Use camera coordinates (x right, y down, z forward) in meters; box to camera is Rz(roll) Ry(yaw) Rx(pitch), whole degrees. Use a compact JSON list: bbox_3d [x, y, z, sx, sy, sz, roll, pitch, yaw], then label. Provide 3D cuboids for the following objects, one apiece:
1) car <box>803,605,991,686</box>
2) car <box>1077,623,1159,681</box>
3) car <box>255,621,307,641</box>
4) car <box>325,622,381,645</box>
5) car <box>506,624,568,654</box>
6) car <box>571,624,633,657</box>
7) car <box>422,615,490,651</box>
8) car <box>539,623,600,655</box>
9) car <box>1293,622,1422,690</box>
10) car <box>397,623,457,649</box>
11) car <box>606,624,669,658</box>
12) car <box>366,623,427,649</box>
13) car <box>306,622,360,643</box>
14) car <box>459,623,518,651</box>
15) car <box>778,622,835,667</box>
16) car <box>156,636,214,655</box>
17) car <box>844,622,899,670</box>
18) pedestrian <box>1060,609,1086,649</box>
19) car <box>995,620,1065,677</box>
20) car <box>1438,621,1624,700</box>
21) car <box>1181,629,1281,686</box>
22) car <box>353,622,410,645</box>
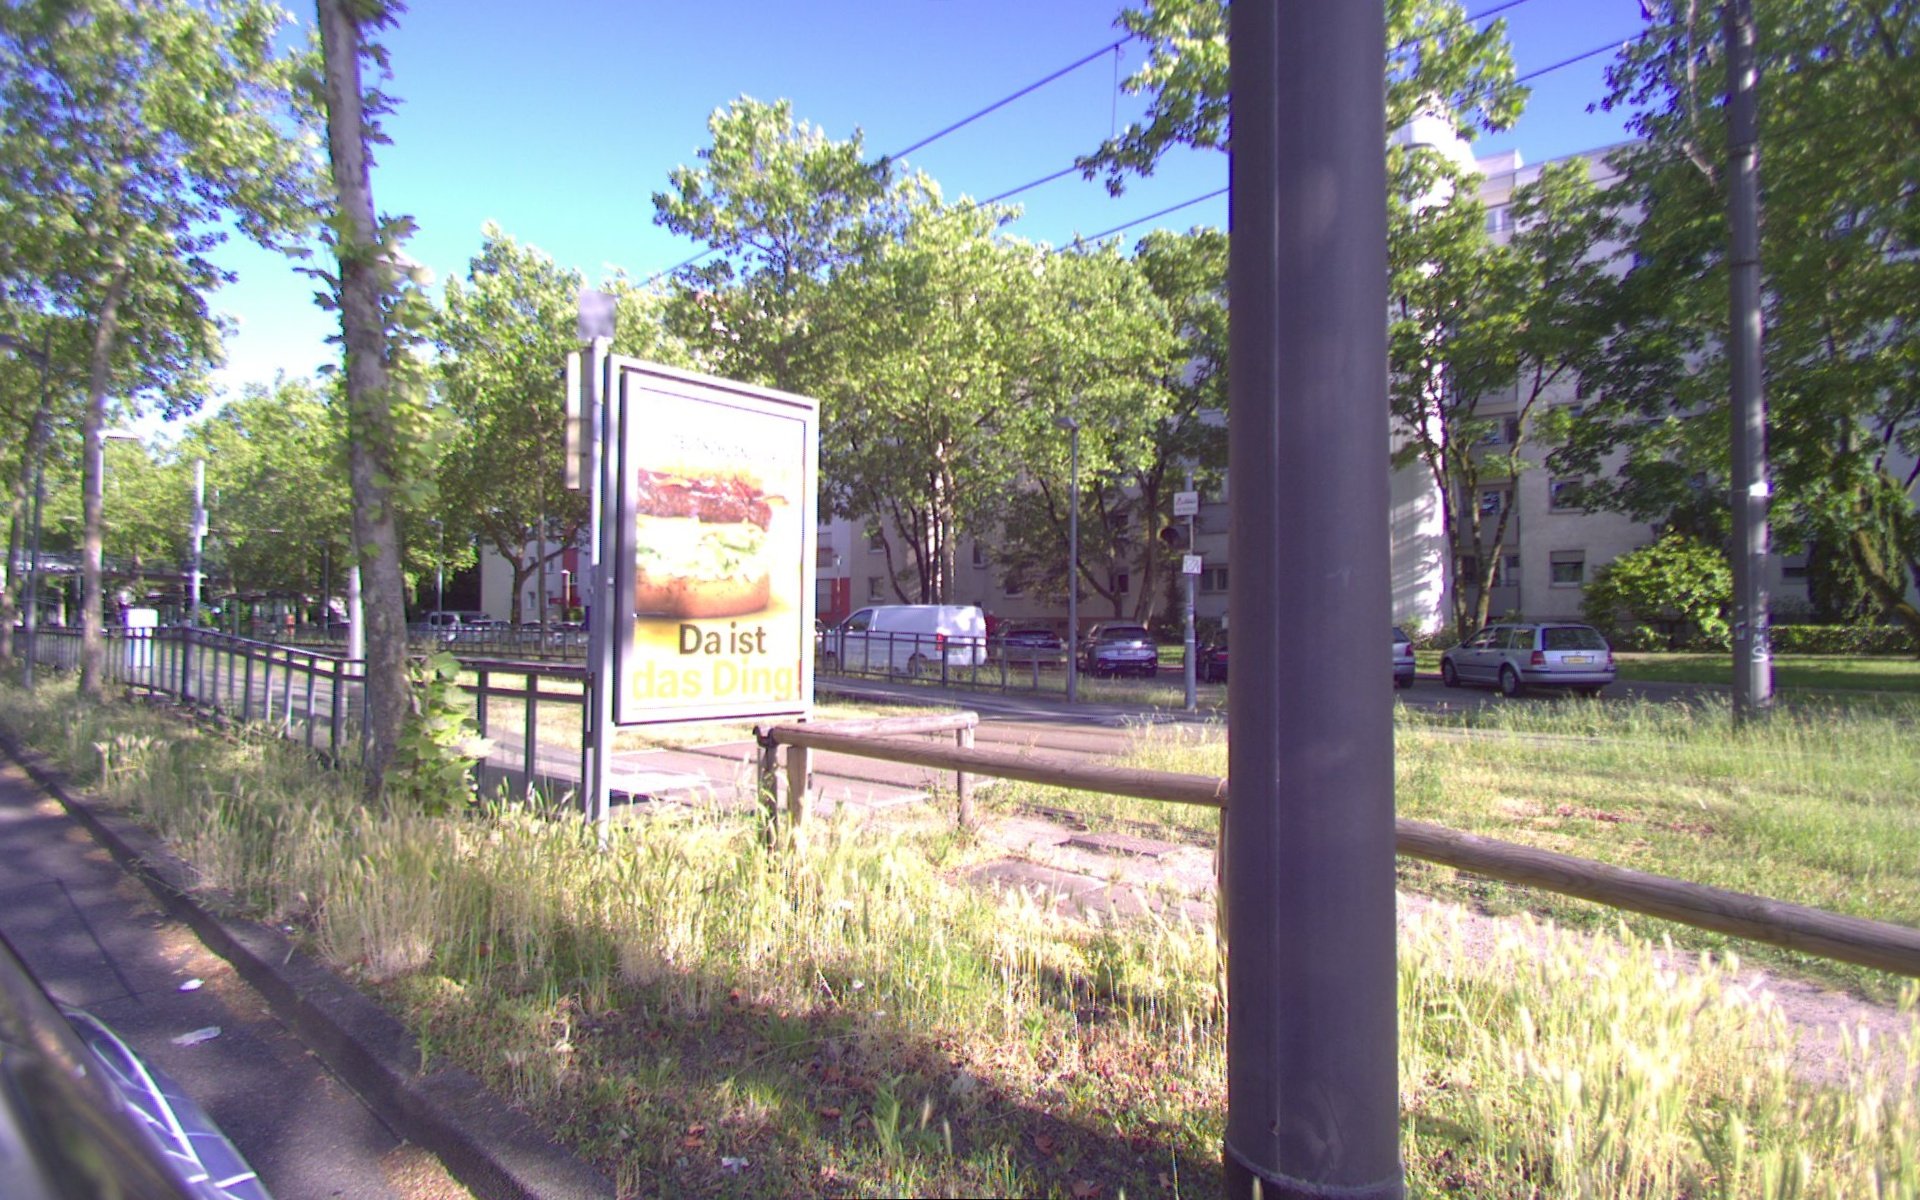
[{"bbox_3d":[-1.676,1.093,25.355,4.902,1.835,1.807,-2,-1,43],"label":"car"},{"bbox_3d":[4.216,1.367,27.519,1.633,1.413,3.803,-1,-1,0],"label":"car"},{"bbox_3d":[-53.055,2.407,79.149,1.633,1.452,3.805,-1,-1,-2],"label":"car"},{"bbox_3d":[-40.842,2.231,68.188,1.633,1.452,3.805,-1,-1,-2],"label":"car"},{"bbox_3d":[-21.340,1.944,51.182,1.633,1.452,3.805,-1,-1,-2],"label":"car"},{"bbox_3d":[-16.629,1.859,47.158,1.633,1.452,3.805,-1,-1,-2],"label":"car"},{"bbox_3d":[-28.456,1.829,57.252,1.814,1.888,4.323,-1,-1,-2],"label":"car"},{"bbox_3d":[-19.048,1.901,49.538,1.633,1.452,3.805,-1,-1,-2],"label":"car"},{"bbox_3d":[9.142,1.241,23.591,1.559,1.413,3.638,-1,-1,0],"label":"car"},{"bbox_3d":[-31.335,2.087,59.596,1.633,1.452,3.805,-1,-1,-2],"label":"car"},{"bbox_3d":[-14.065,1.769,44.335,1.633,1.366,3.805,-1,-1,-2],"label":"car"},{"bbox_3d":[-33.698,2.118,60.600,1.633,1.452,3.805,-1,-1,-2],"label":"car"},{"bbox_3d":[-44.983,2.292,72.677,1.633,1.452,3.805,-1,-1,-2],"label":"car"},{"bbox_3d":[-25.874,2.004,55.658,1.633,1.452,3.805,-1,-1,-2],"label":"car"},{"bbox_3d":[-5.568,1.572,37.017,1.633,1.522,3.805,-1,-1,-2],"label":"car"},{"bbox_3d":[-62.497,3.661,81.589,4.611,1.522,1.644,-1,-1,22],"label":"car"},{"bbox_3d":[-2.978,1.530,34.649,1.633,1.522,3.805,-1,-1,-2],"label":"car"},{"bbox_3d":[4.663,1.181,41.842,0.786,1.635,0.755,-1,0,39],"label":"pedestrian"},{"bbox_3d":[1.982,1.357,29.667,1.633,1.522,3.805,-1,-1,-2],"label":"car"},{"bbox_3d":[11.473,1.163,20.665,1.559,1.413,3.906,-1,-1,0],"label":"car"},{"bbox_3d":[6.674,1.380,25.277,1.445,1.234,3.815,-1,-1,0],"label":"car"},{"bbox_3d":[-37.889,2.177,66.375,1.633,1.452,3.805,-1,-1,-2],"label":"car"}]
